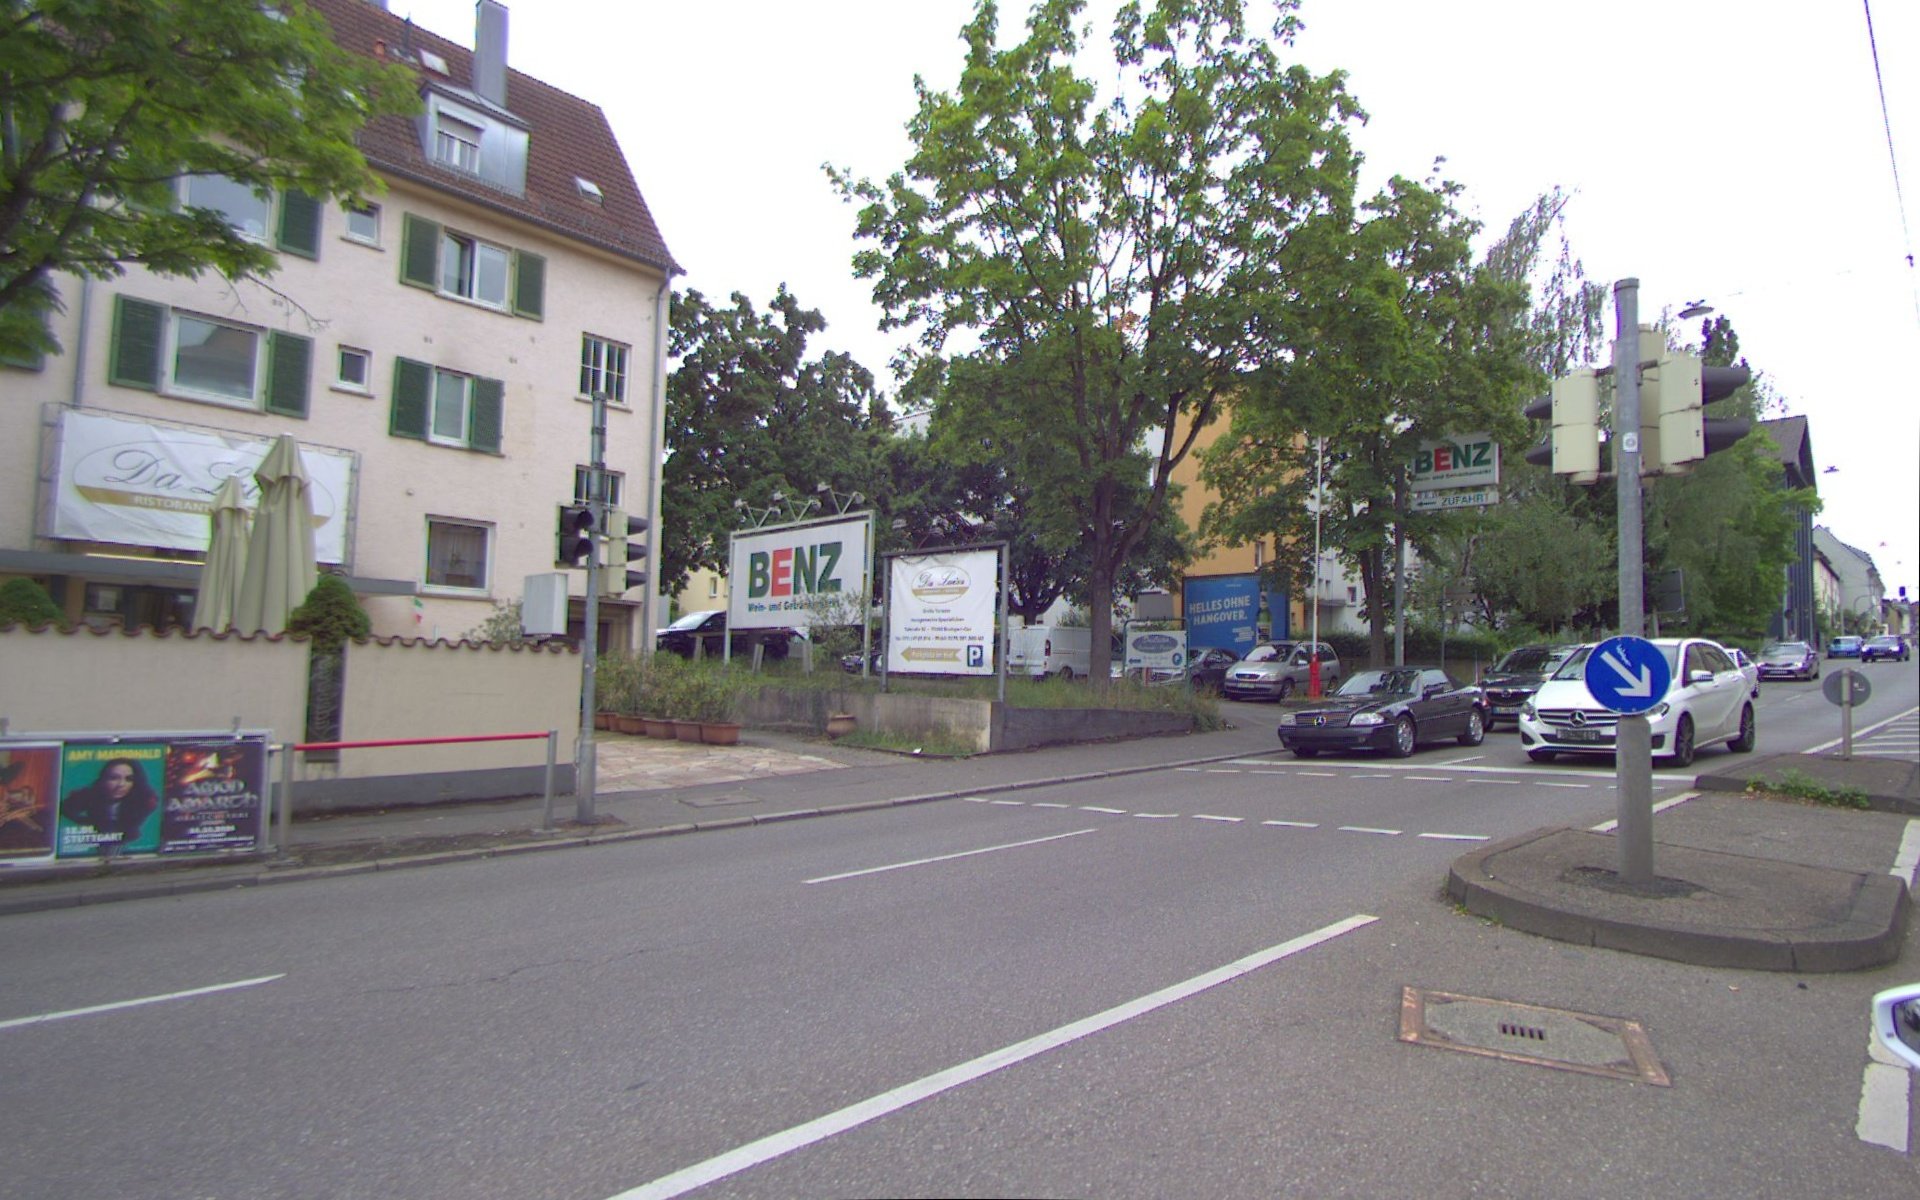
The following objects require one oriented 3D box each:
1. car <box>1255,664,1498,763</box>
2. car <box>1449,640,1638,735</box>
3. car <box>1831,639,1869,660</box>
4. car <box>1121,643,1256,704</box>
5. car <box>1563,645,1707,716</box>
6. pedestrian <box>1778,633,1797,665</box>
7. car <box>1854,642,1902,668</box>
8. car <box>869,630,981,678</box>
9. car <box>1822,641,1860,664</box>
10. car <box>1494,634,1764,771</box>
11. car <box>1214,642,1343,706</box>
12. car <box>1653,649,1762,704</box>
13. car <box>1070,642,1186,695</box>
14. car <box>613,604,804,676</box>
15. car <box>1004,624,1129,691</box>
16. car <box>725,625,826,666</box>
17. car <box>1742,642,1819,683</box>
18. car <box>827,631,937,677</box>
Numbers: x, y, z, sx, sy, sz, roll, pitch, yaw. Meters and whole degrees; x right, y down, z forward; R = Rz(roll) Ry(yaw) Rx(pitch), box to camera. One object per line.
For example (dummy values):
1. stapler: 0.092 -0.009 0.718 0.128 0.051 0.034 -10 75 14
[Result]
1. car: 6.643 1.719 15.844 4.202 1.297 1.788 2 -6 -40
2. car: 11.623 1.677 19.895 4.381 1.663 1.935 2 -6 -42
3. car: 65.551 3.662 73.965 3.962 1.475 1.698 2 -5 -44
4. car: 6.499 2.032 28.377 3.969 1.521 1.692 3 -1 -41
5. car: 16.920 1.971 25.086 4.466 1.614 1.934 2 -6 -43
6. pedestrian: 52.252 3.083 63.421 0.873 1.976 0.862 1 -1 45
7. car: 54.182 3.255 59.270 1.821 1.466 4.283 -5 -5 45
8. car: -1.246 1.942 36.762 1.897 1.630 3.907 -1 -2 44
9. car: 61.374 3.646 69.938 1.697 1.442 3.964 -5 -5 44
10. car: 9.136 1.299 13.587 4.288 1.566 1.762 2 -6 -39
11. car: 8.678 1.951 27.187 1.689 1.521 3.976 2 -1 44
12. car: 21.680 2.190 29.072 4.046 1.430 1.822 2 -6 -44
13. car: 5.182 2.026 30.639 1.687 1.429 3.982 2 -1 40
14. car: -6.900 1.109 27.994 2.035 1.827 4.886 -1 -2 40
15. car: 3.448 1.804 32.086 3.973 1.927 1.806 3 -1 -44
16. car: -7.917 1.940 43.327 1.897 1.695 3.907 -1 -2 44
17. car: 31.630 2.389 38.676 1.821 1.466 4.283 -5 -5 45
18. car: -2.952 2.040 38.524 1.897 1.630 3.907 -1 -2 44
